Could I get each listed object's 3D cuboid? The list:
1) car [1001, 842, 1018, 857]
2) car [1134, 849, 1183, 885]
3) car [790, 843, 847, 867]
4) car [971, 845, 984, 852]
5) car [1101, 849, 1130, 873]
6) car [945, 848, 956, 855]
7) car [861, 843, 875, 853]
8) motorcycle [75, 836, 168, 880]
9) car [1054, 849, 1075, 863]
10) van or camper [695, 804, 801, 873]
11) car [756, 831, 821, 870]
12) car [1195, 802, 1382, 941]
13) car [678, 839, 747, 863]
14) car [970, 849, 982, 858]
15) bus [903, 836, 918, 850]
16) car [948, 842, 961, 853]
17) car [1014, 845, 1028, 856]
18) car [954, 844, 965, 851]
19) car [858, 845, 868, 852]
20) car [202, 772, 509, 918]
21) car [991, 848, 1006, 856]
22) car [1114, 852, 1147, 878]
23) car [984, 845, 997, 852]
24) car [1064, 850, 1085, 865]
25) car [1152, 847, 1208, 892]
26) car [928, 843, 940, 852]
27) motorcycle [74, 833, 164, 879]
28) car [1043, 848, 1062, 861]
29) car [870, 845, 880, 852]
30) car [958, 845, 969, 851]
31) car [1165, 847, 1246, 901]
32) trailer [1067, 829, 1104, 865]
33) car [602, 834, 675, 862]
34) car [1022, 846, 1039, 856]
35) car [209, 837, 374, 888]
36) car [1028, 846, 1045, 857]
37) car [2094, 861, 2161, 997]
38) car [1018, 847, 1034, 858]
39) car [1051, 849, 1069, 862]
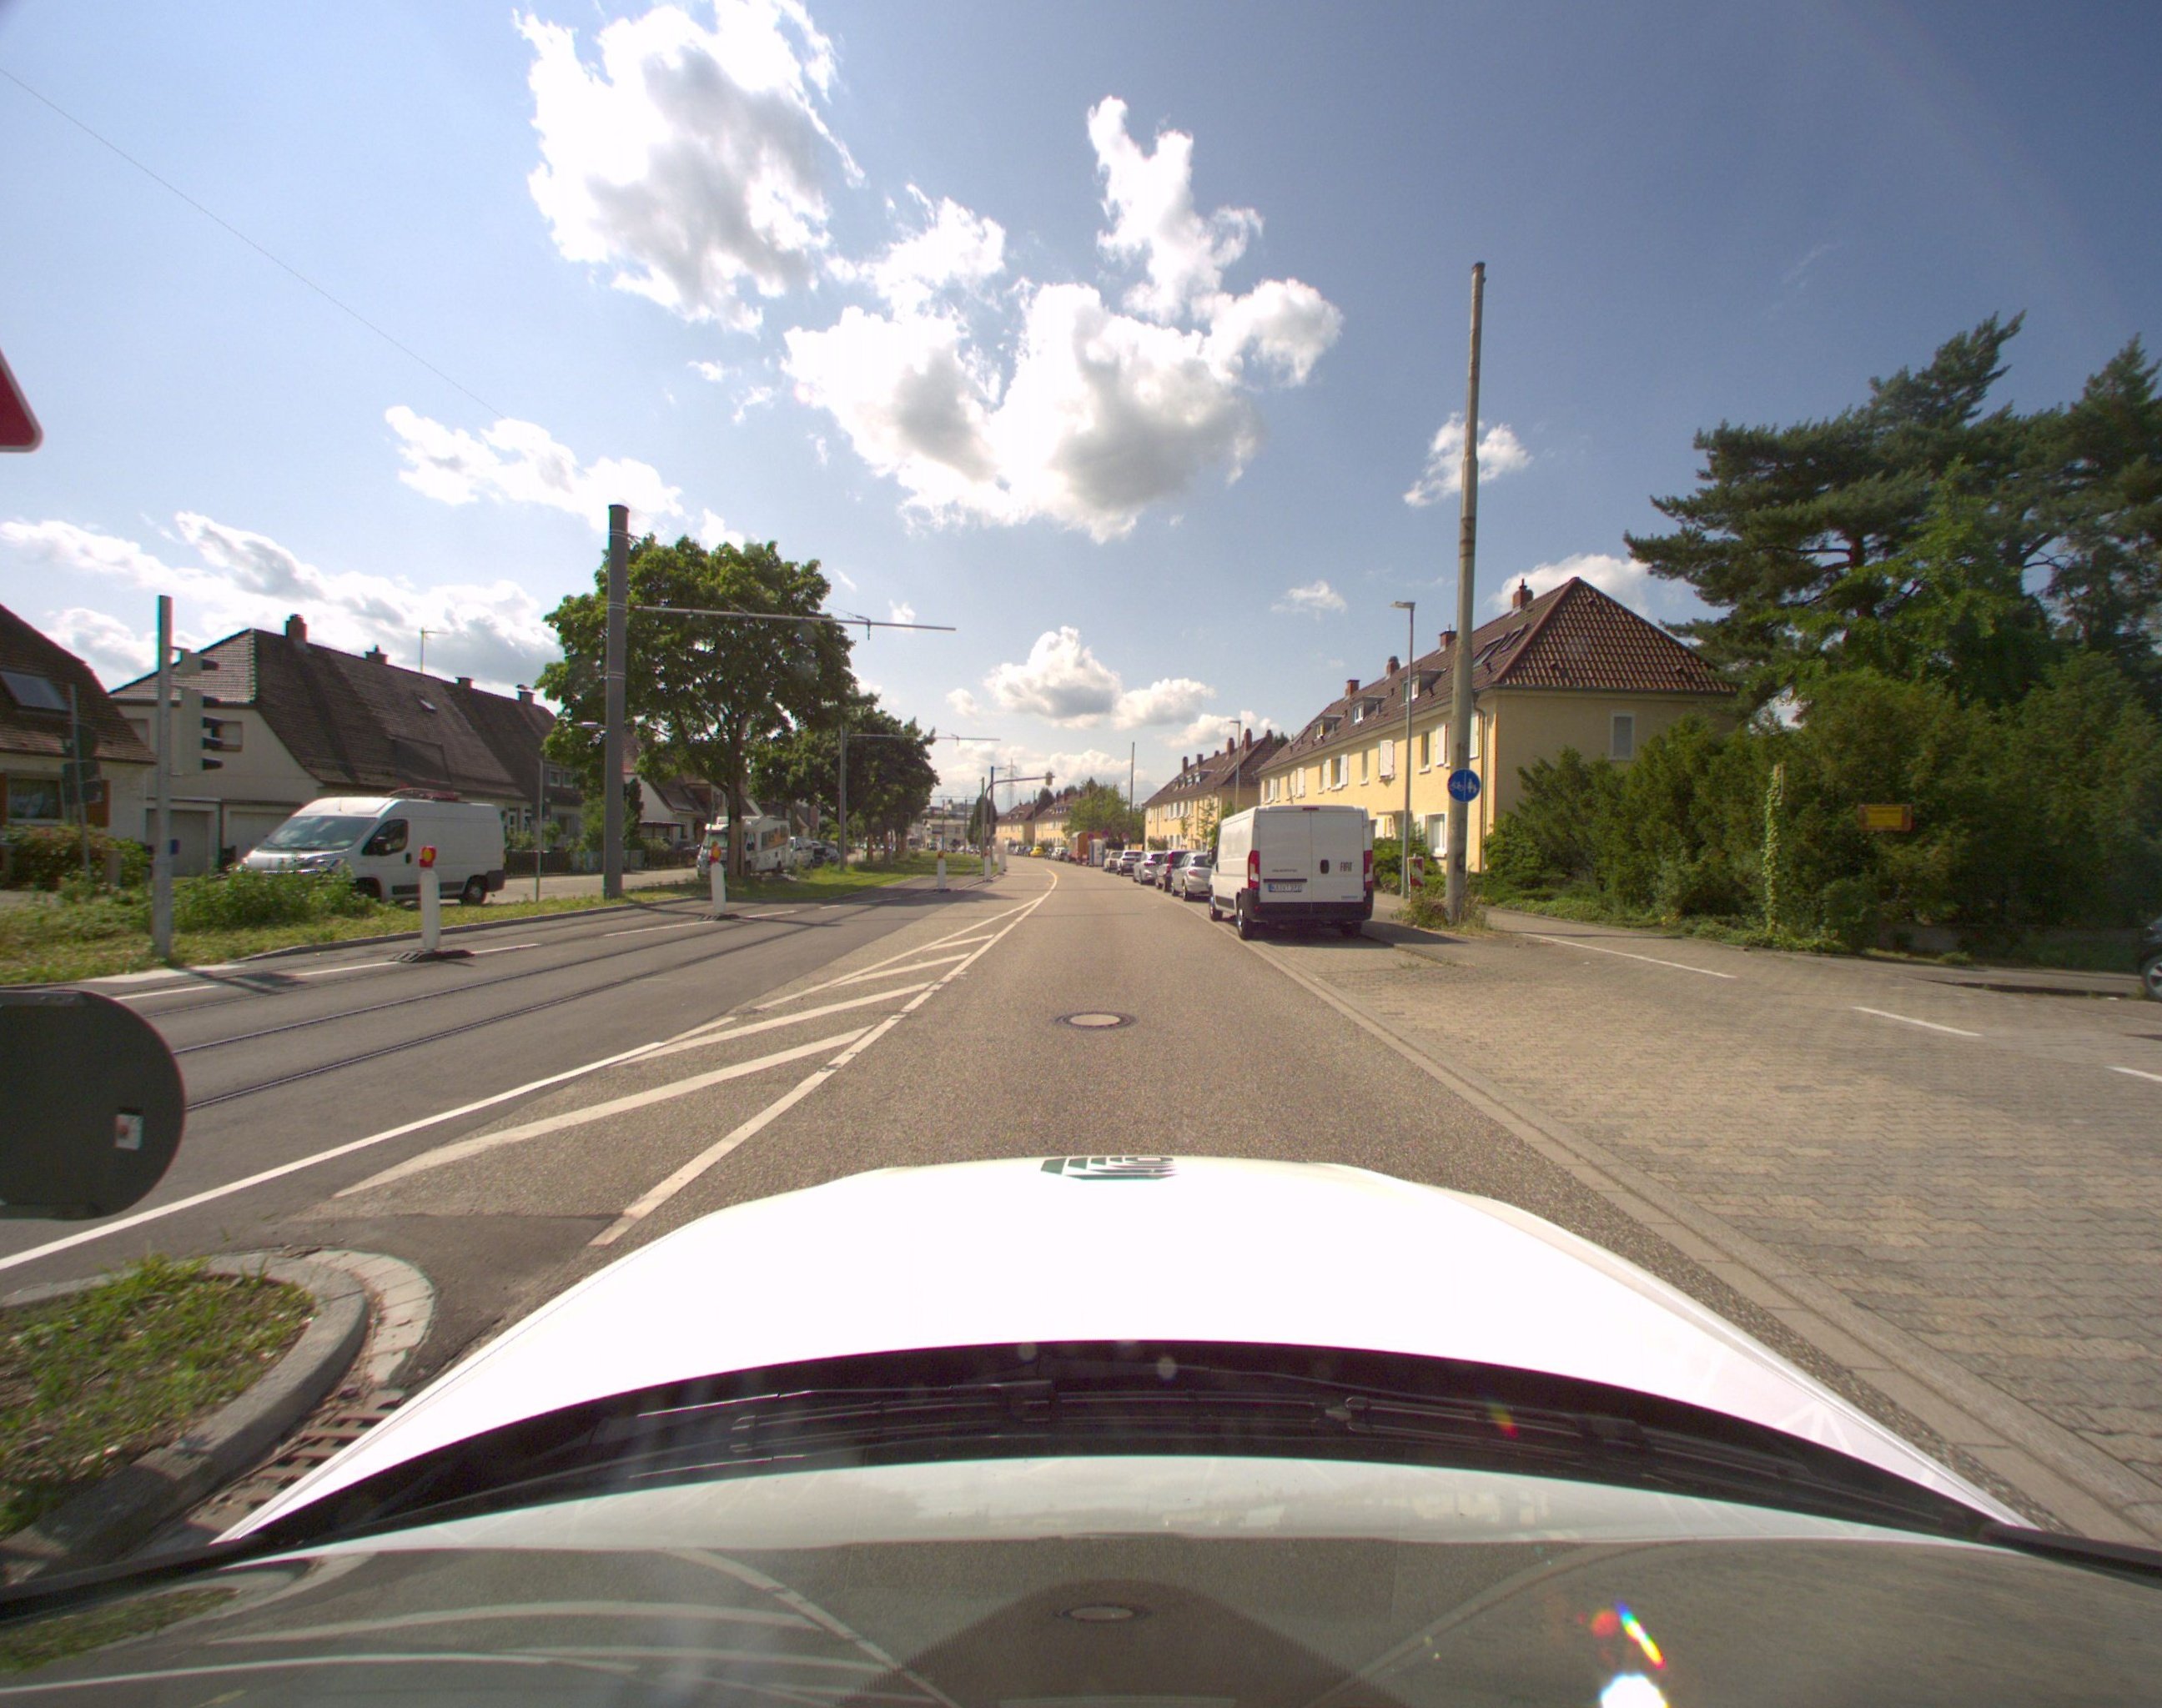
[{"bbox_3d":[-12.111,-0.833,138.199,1.933,2.480,5.488,0,1,-16],"label":"car"},{"bbox_3d":[3.356,0.519,35.912,1.744,1.497,4.384,0,0,0],"label":"car"},{"bbox_3d":[-16.161,0.037,50.317,1.845,1.387,4.809,1,0,1],"label":"car"},{"bbox_3d":[-20.868,-1.131,163.935,1.769,1.417,3.974,-1,1,-19],"label":"car"},{"bbox_3d":[2.250,0.436,54.108,1.461,1.502,4.102,0,0,-5],"label":"car"},{"bbox_3d":[-26.028,-0.511,162.113,1.728,1.389,4.098,1,0,-17],"label":"car"},{"bbox_3d":[-38.561,-1.113,147.826,1.880,1.768,5.068,1,0,-9],"label":"car"},{"bbox_3d":[-26.534,0.105,22.564,0.495,1.169,1.791,1,0,-3],"label":"motorcycle"},{"bbox_3d":[-1.864,0.207,91.928,1.706,1.449,4.820,1,0,-9],"label":"car"},{"bbox_3d":[-15.549,-0.684,38.668,2.370,2.970,7.287,1,0,-3],"label":"van or camper"},{"bbox_3d":[-16.154,-0.180,45.251,1.989,2.013,4.899,1,0,-3],"label":"car"},{"bbox_3d":[3.710,0.259,16.019,2.268,2.182,6.371,0,0,2],"label":"car"},{"bbox_3d":[-25.861,-0.193,57.267,3.985,1.530,1.868,2,0,-9],"label":"car"},{"bbox_3d":[-17.893,-0.086,138.686,1.667,1.449,3.943,-2,1,-12],"label":"car"},{"bbox_3d":[-44.986,-2.928,214.618,2.643,3.412,12.173,-1,1,-18],"label":"bus"},{"bbox_3d":[-29.543,-1.429,189.721,1.966,2.478,6.019,-1,1,-20],"label":"car"},{"bbox_3d":[-9.481,-0.587,128.455,1.639,1.602,4.009,1,0,-15],"label":"car"},{"bbox_3d":[-27.449,-1.451,184.035,1.769,1.502,3.974,-1,1,-19],"label":"car"},{"bbox_3d":[-54.099,-1.313,202.252,1.885,1.552,4.349,1,0,-20],"label":"car"},{"bbox_3d":[-15.155,-0.166,17.539,2.146,2.668,4.915,1,0,0],"label":"car"},{"bbox_3d":[-15.307,-0.318,150.735,1.805,1.458,4.733,-1,0,-20],"label":"car"},{"bbox_3d":[2.853,0.604,47.794,1.524,1.481,3.806,0,0,-3],"label":"car"},{"bbox_3d":[-17.380,-1.042,155.604,1.626,1.417,3.974,-1,1,-19],"label":"car"},{"bbox_3d":[-0.701,0.343,84.152,1.577,1.449,4.439,1,0,-9],"label":"car"},{"bbox_3d":[3.608,0.525,30.209,1.623,1.550,3.808,0,0,0],"label":"car"},{"bbox_3d":[-32.814,-1.394,181.935,1.960,1.966,5.261,0,1,-18],"label":"car"},{"bbox_3d":[-27.341,0.051,23.194,0.577,1.272,1.992,1,0,-14],"label":"motorcycle"},{"bbox_3d":[-3.588,0.050,101.984,1.550,1.641,4.229,1,0,-12],"label":"car"},{"bbox_3d":[-44.669,-1.124,176.809,1.733,1.505,4.540,-1,1,-18],"label":"car"},{"bbox_3d":[-25.838,-1.347,179.145,1.769,1.439,3.974,-1,1,-19],"label":"car"},{"bbox_3d":[3.727,0.552,25.088,1.703,1.504,4.251,0,0,-2],"label":"car"},{"bbox_3d":[0.400,-0.627,75.763,2.689,3.226,5.068,1,0,-8],"label":"trailer"},{"bbox_3d":[-30.597,-0.417,56.449,3.985,1.737,1.794,2,0,-9],"label":"car"},{"bbox_3d":[-7.389,-0.444,118.320,1.639,1.482,4.104,1,0,-15],"label":"car"},{"bbox_3d":[-25.701,0.269,26.607,3.607,1.522,1.669,1,0,-2],"label":"car"},{"bbox_3d":[-6.274,-0.398,114.256,1.638,1.482,3.915,-2,2,-13],"label":"car"},{"bbox_3d":[13.178,0.866,8.047,1.623,1.547,3.808,1,0,0],"label":"car"},{"bbox_3d":[-8.424,-0.177,124.574,1.640,1.602,3.909,1,0,-17],"label":"car"},{"bbox_3d":[-2.564,0.124,96.963,1.577,1.513,4.445,1,0,-9],"label":"car"}]
